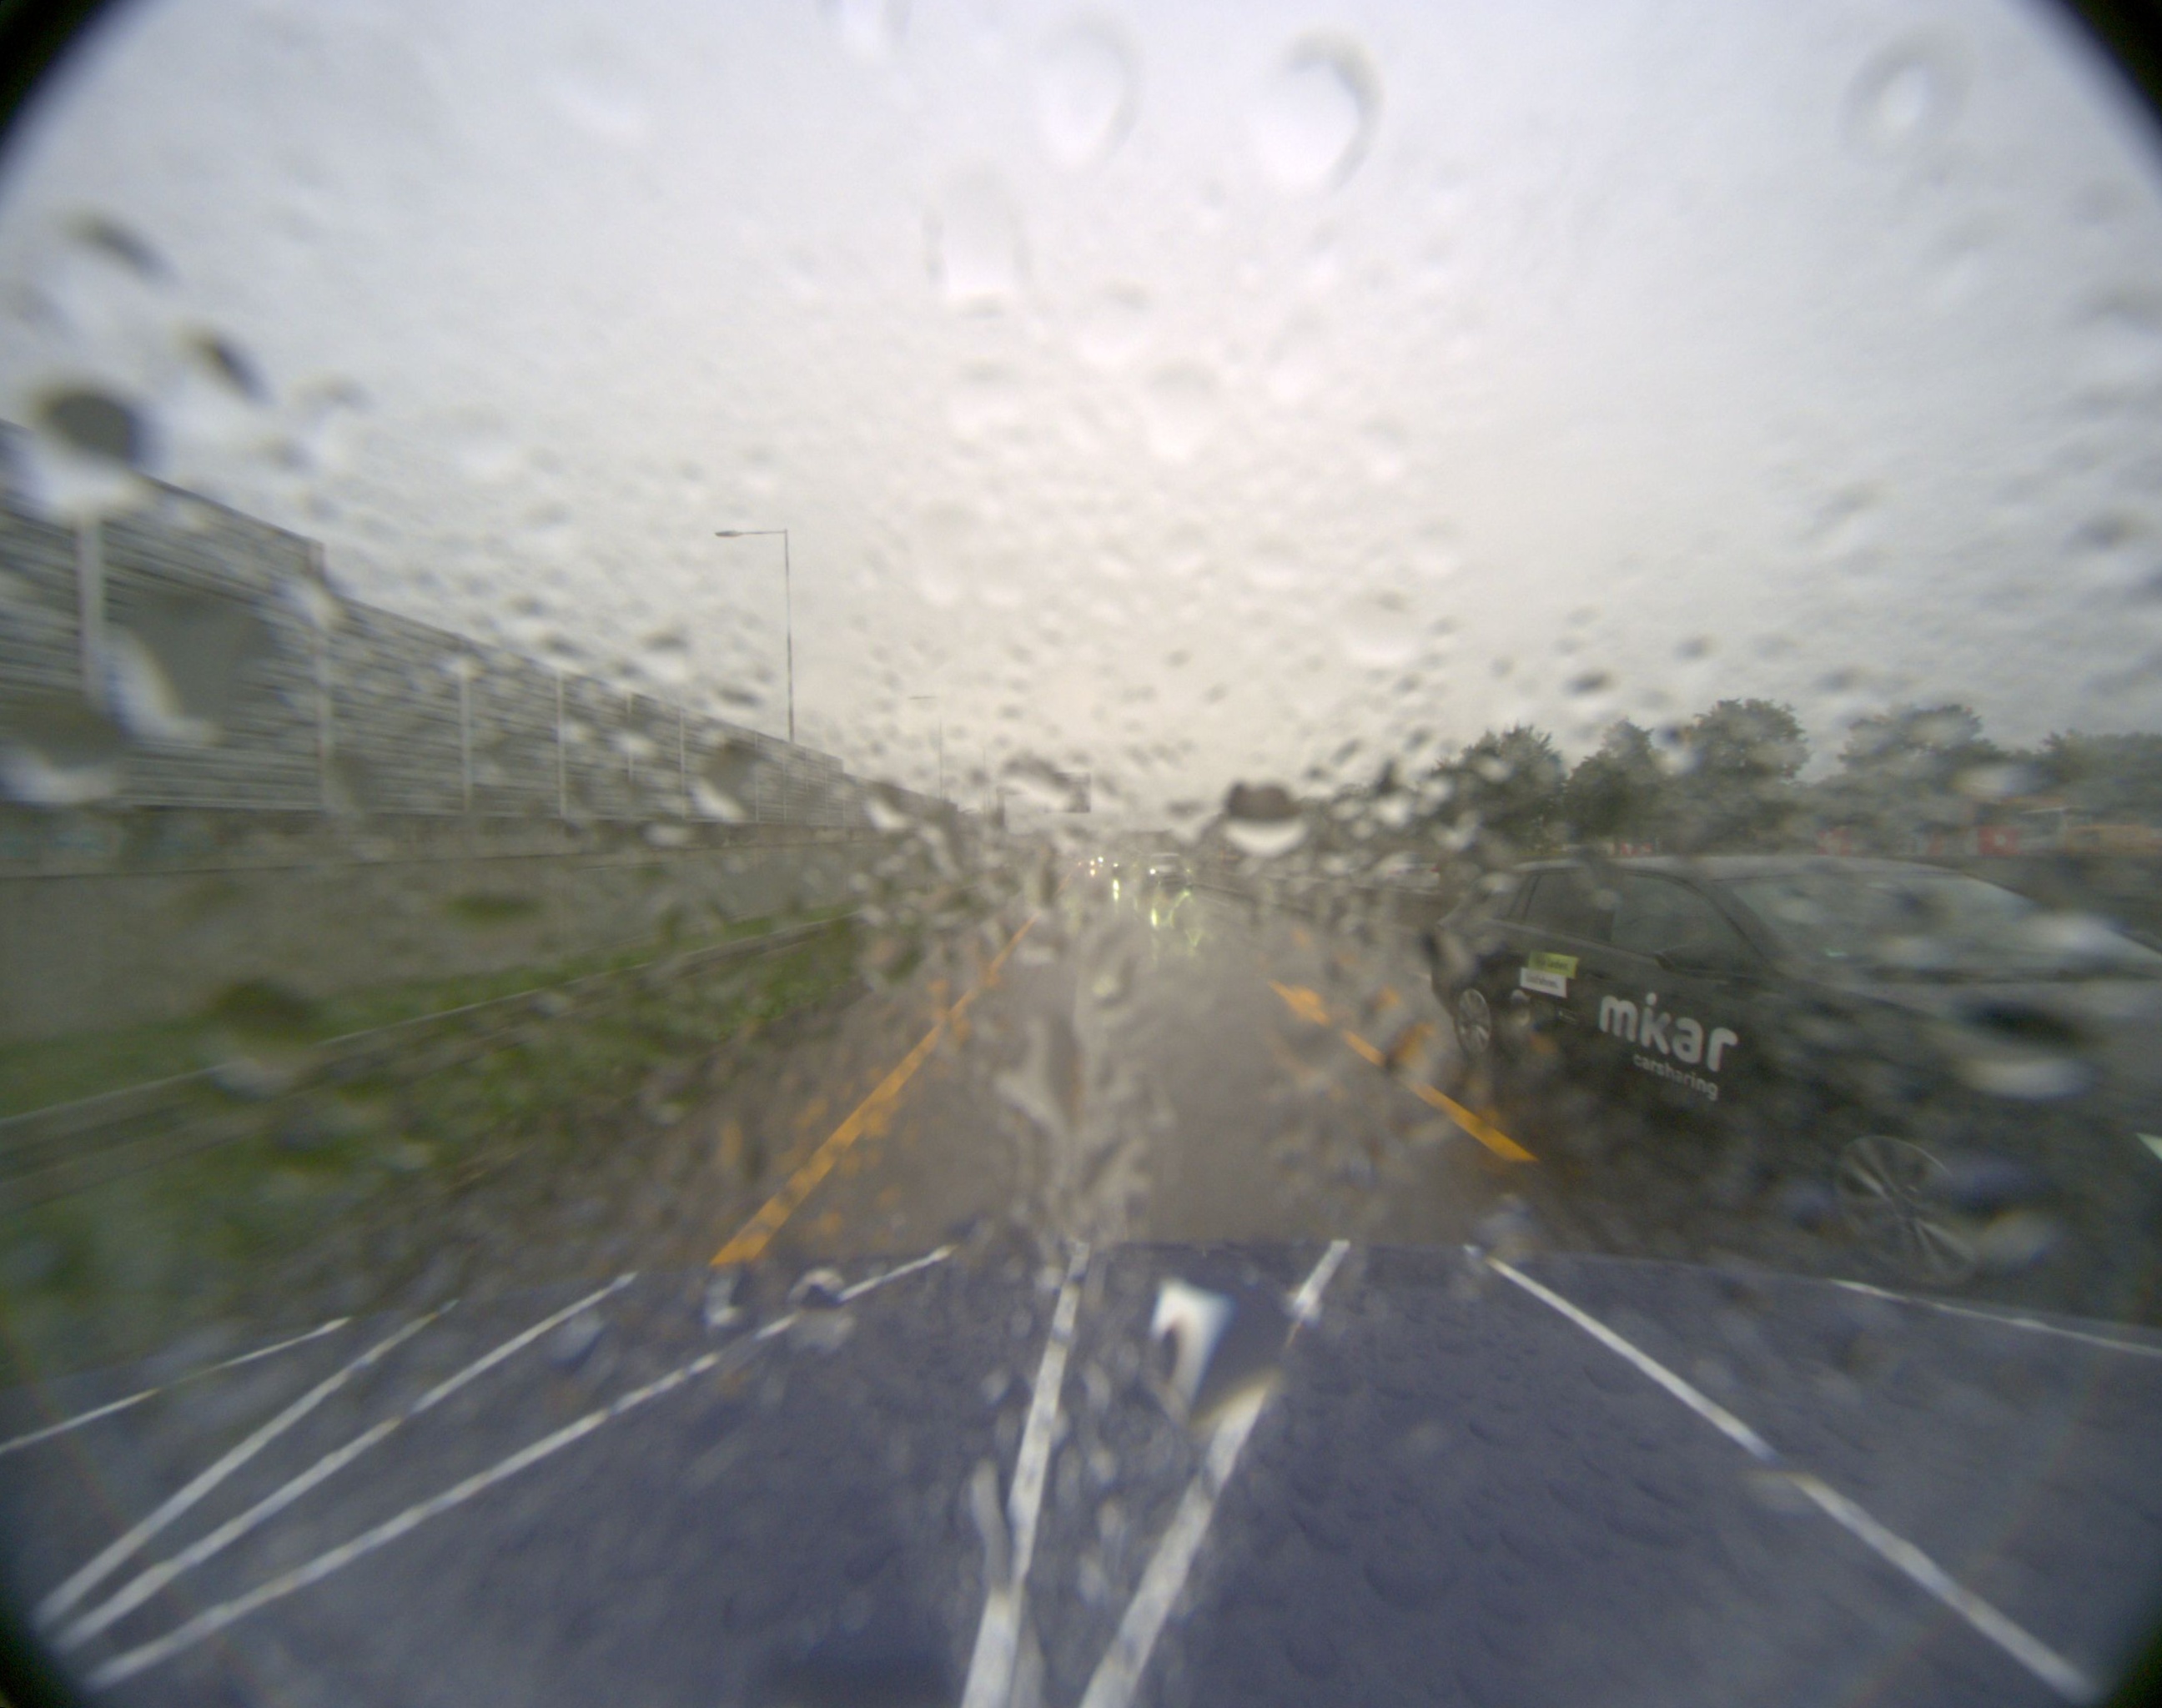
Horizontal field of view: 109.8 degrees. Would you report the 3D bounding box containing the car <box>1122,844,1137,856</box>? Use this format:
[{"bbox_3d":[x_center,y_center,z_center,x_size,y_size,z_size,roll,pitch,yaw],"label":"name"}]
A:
[{"bbox_3d":[7.177,-0.635,113.568,1.903,1.677,4.740,-1,0,0],"label":"car"}]

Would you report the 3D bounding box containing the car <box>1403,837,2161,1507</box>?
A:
[{"bbox_3d":[3.486,0.715,3.585,1.943,1.518,4.795,-2,0,1],"label":"car"}]

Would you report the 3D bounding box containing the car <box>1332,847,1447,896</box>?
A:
[{"bbox_3d":[10.419,0.528,26.162,1.732,1.429,5.437,-3,0,1],"label":"car"}]

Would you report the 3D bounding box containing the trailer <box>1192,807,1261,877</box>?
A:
[{"bbox_3d":[10.397,-0.802,55.990,2.588,4.431,13.551,-2,0,1],"label":"trailer"}]

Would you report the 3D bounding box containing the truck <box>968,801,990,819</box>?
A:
[{"bbox_3d":[-12.367,-5.278,92.340,1.998,2.002,4.057,-2,2,0],"label":"truck"}]

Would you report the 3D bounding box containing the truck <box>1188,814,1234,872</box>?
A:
[{"bbox_3d":[10.504,-0.856,61.999,2.615,4.363,6.289,-2,0,1],"label":"truck"}]

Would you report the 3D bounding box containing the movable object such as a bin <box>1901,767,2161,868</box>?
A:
[{"bbox_3d":[42.730,-1.579,34.089,2.736,3.897,8.461,-2,2,0],"label":"movable object such as a bin"}]

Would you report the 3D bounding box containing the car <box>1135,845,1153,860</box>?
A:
[{"bbox_3d":[7.483,-0.221,90.717,1.705,1.589,4.319,-2,2,0],"label":"car"}]

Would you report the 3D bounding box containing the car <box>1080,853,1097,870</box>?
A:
[{"bbox_3d":[0.946,0.905,92.831,1.998,1.762,3.999,-2,2,2],"label":"car"}]

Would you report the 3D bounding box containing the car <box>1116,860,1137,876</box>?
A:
[{"bbox_3d":[3.489,1.075,58.763,1.335,1.105,3.198,1,0,-2],"label":"car"}]

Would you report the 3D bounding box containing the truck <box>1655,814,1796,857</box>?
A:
[{"bbox_3d":[45.017,-1.241,53.544,2.521,2.688,8.902,-2,0,1],"label":"truck"}]

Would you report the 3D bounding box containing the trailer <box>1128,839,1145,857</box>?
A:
[{"bbox_3d":[11.077,-1.101,151.576,2.668,3.343,9.713,-2,0,0],"label":"trailer"}]

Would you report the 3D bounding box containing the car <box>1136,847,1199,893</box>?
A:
[{"bbox_3d":[3.600,0.631,32.307,1.972,1.671,3.997,-2,2,-3],"label":"car"}]
